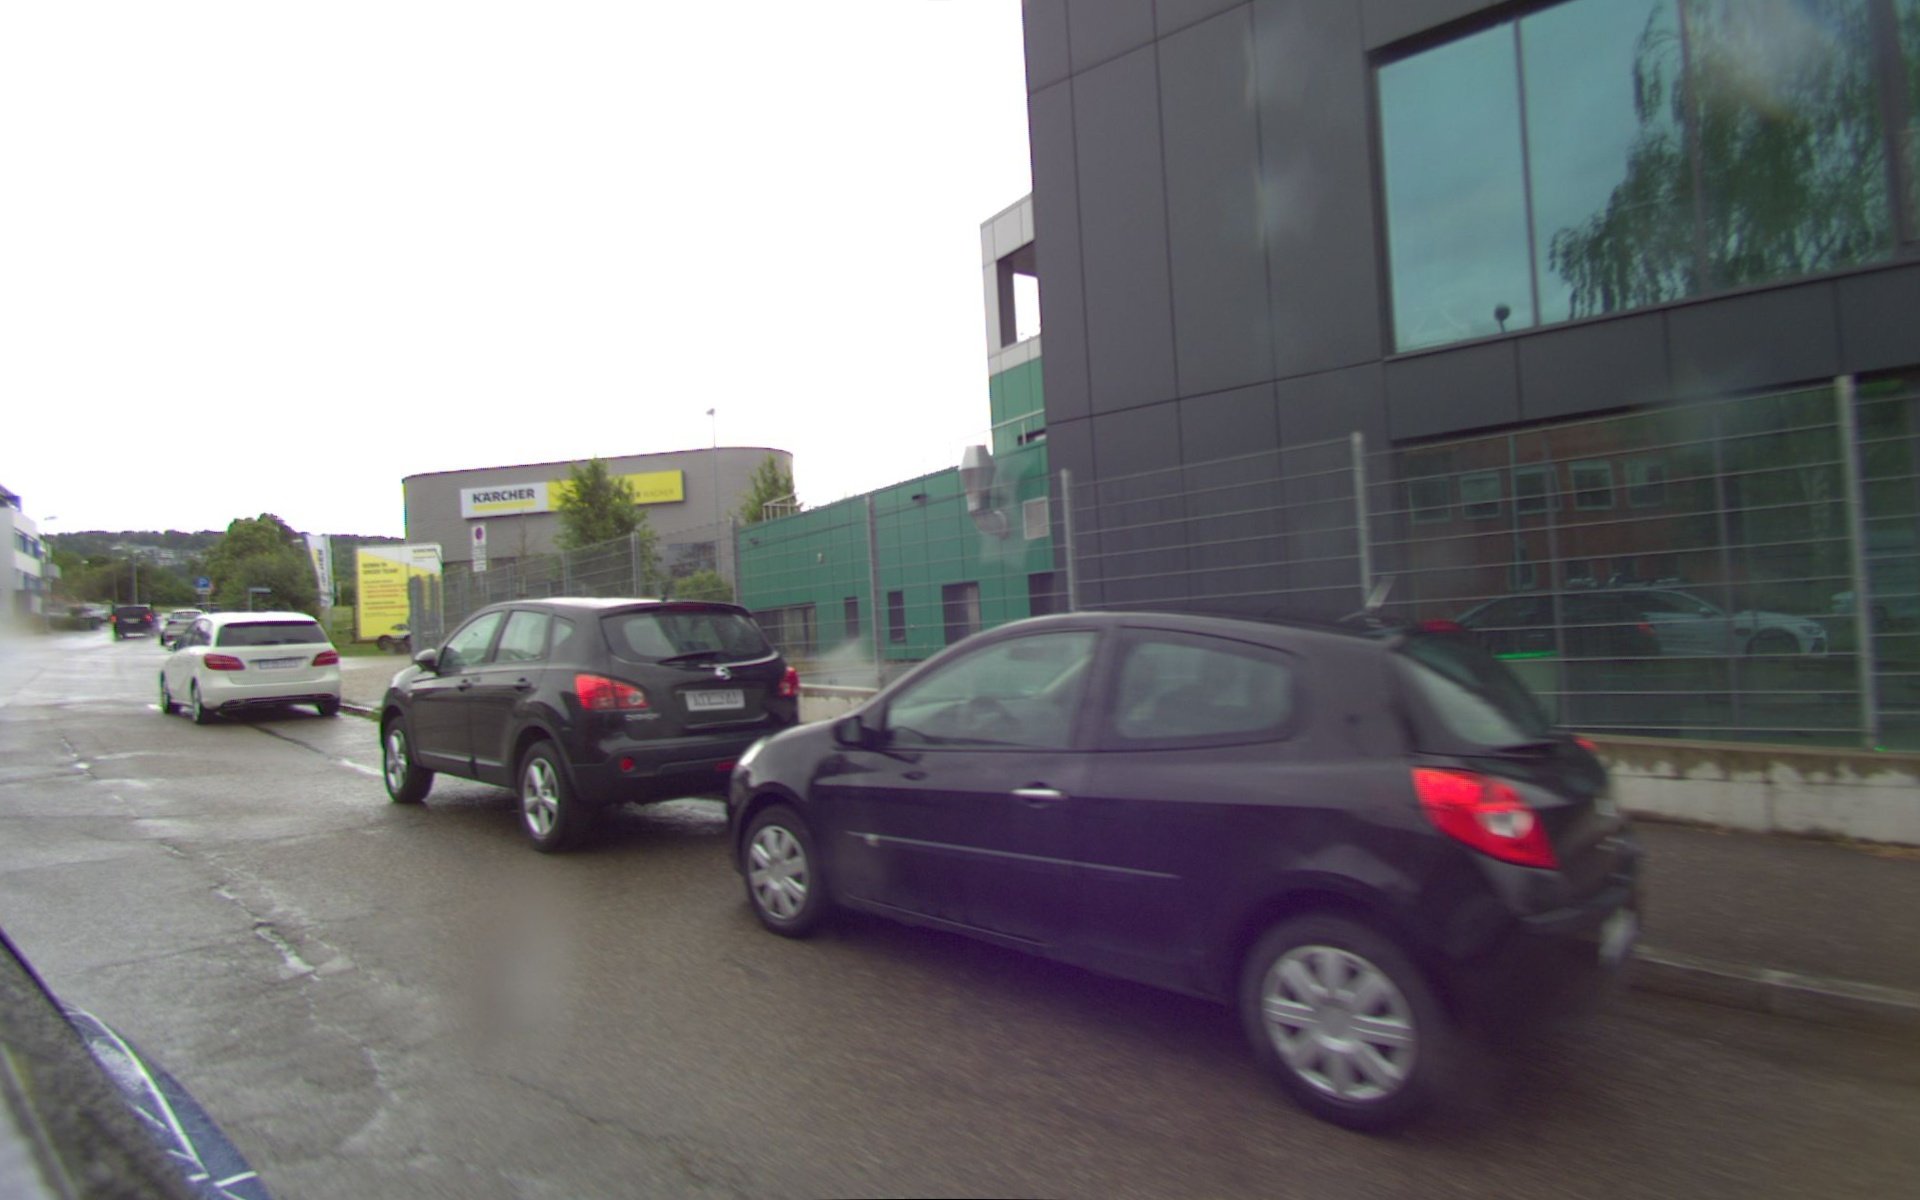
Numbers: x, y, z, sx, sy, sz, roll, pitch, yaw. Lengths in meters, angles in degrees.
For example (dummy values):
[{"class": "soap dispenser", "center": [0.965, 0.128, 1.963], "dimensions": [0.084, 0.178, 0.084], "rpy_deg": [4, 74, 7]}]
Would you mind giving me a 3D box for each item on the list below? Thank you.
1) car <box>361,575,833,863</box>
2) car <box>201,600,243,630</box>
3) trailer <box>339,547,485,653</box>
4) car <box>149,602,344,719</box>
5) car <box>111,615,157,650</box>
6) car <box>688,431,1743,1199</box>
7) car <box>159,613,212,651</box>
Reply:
[{"class": "car", "center": [-2.885, 0.703, 7.538], "dimensions": [4.084, 1.570, 1.614], "rpy_deg": [-2, -2, 43]}, {"class": "car", "center": [-51.962, 1.043, 71.295], "dimensions": [1.966, 2.029, 4.012], "rpy_deg": [0, -1, -30]}, {"class": "trailer", "center": [-22.120, 0.010, 41.015], "dimensions": [4.637, 4.120, 2.387], "rpy_deg": [-1, 0, 3]}, {"class": "car", "center": [-11.148, 0.849, 15.701], "dimensions": [4.251, 1.547, 1.715], "rpy_deg": [-1, 0, 44]}, {"class": "car", "center": [-49.922, 1.921, 61.127], "dimensions": [2.037, 2.029, 4.518], "rpy_deg": [1, -2, -40]}, {"class": "car", "center": [0.690, 0.549, 4.250], "dimensions": [3.959, 1.811, 1.720], "rpy_deg": [-1, -1, 43]}, {"class": "car", "center": [-40.835, 1.683, 53.324], "dimensions": [1.969, 1.928, 4.005], "rpy_deg": [1, -2, -41]}]
